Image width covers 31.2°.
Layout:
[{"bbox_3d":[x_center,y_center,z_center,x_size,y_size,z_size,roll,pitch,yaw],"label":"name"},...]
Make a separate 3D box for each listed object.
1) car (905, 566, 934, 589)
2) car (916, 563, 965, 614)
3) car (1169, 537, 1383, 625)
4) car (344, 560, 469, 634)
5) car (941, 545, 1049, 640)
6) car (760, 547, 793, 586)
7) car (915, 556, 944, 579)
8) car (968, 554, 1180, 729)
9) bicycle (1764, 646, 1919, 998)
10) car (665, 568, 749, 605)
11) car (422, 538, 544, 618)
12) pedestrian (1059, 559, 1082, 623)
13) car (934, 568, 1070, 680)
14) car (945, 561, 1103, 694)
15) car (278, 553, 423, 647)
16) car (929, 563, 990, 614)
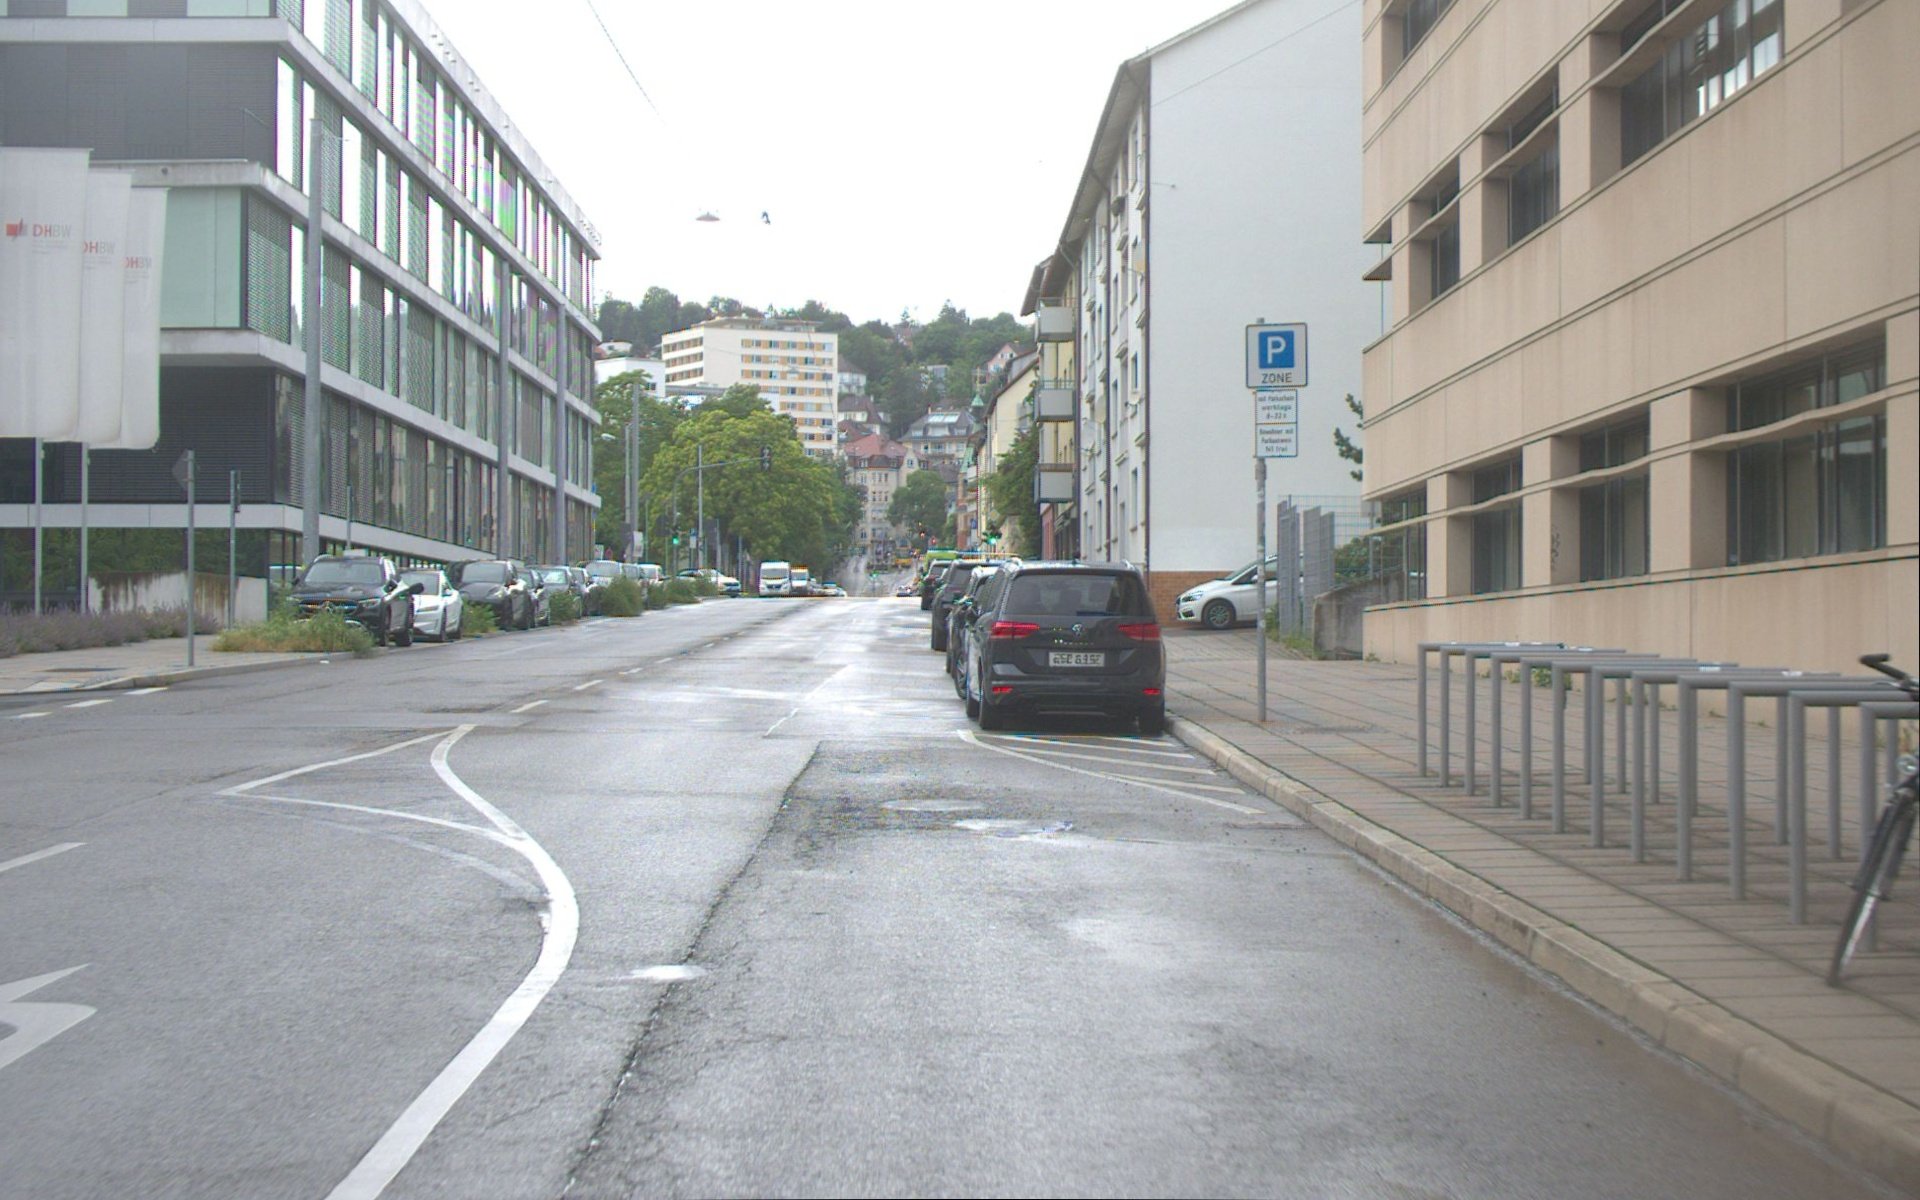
[{"bbox_3d":[-2.954,-1.628,251.823,1.867,1.598,4.189,1,0,2],"label":"car"},{"bbox_3d":[-0.703,-0.434,121.893,1.654,1.732,4.180,1,1,-1],"label":"car"},{"bbox_3d":[6.923,-0.413,75.685,4.438,1.707,1.905,-3,0,-1],"label":"car"},{"bbox_3d":[-11.044,-0.075,68.894,1.821,1.414,4.402,1,0,-1],"label":"car"},{"bbox_3d":[0.641,-0.165,66.863,1.935,1.744,4.797,1,0,-1],"label":"car"},{"bbox_3d":[-12.224,-2.242,229.167,2.105,2.538,4.751,1,0,-3],"label":"car"},{"bbox_3d":[-2.170,-2.285,243.655,1.867,1.598,4.189,1,0,2],"label":"car"},{"bbox_3d":[1.068,0.372,34.239,1.771,1.598,4.395,1,0,-2],"label":"car"},{"bbox_3d":[3.625,0.716,11.436,1.729,1.115,0.660,0,0,-6],"label":"bicycle"},{"bbox_3d":[-12.749,-0.673,173.206,4.201,1.663,1.637,-2,-4,39],"label":"car"},{"bbox_3d":[-10.928,-0.512,79.038,1.963,1.744,4.941,1,0,2],"label":"car"},{"bbox_3d":[3.264,-0.277,101.161,0.639,1.864,0.538,1,0,1],"label":"pedestrian"},{"bbox_3d":[0.575,0.314,50.183,1.743,1.528,4.320,1,0,-2],"label":"car"},{"bbox_3d":[0.745,0.323,42.502,1.725,1.507,4.058,2,0,-1],"label":"car"},{"bbox_3d":[-10.983,-0.015,62.191,1.849,1.612,4.491,1,0,-1],"label":"car"},{"bbox_3d":[-0.033,-0.353,101.283,1.706,1.449,3.985,1,0,-1],"label":"car"}]
